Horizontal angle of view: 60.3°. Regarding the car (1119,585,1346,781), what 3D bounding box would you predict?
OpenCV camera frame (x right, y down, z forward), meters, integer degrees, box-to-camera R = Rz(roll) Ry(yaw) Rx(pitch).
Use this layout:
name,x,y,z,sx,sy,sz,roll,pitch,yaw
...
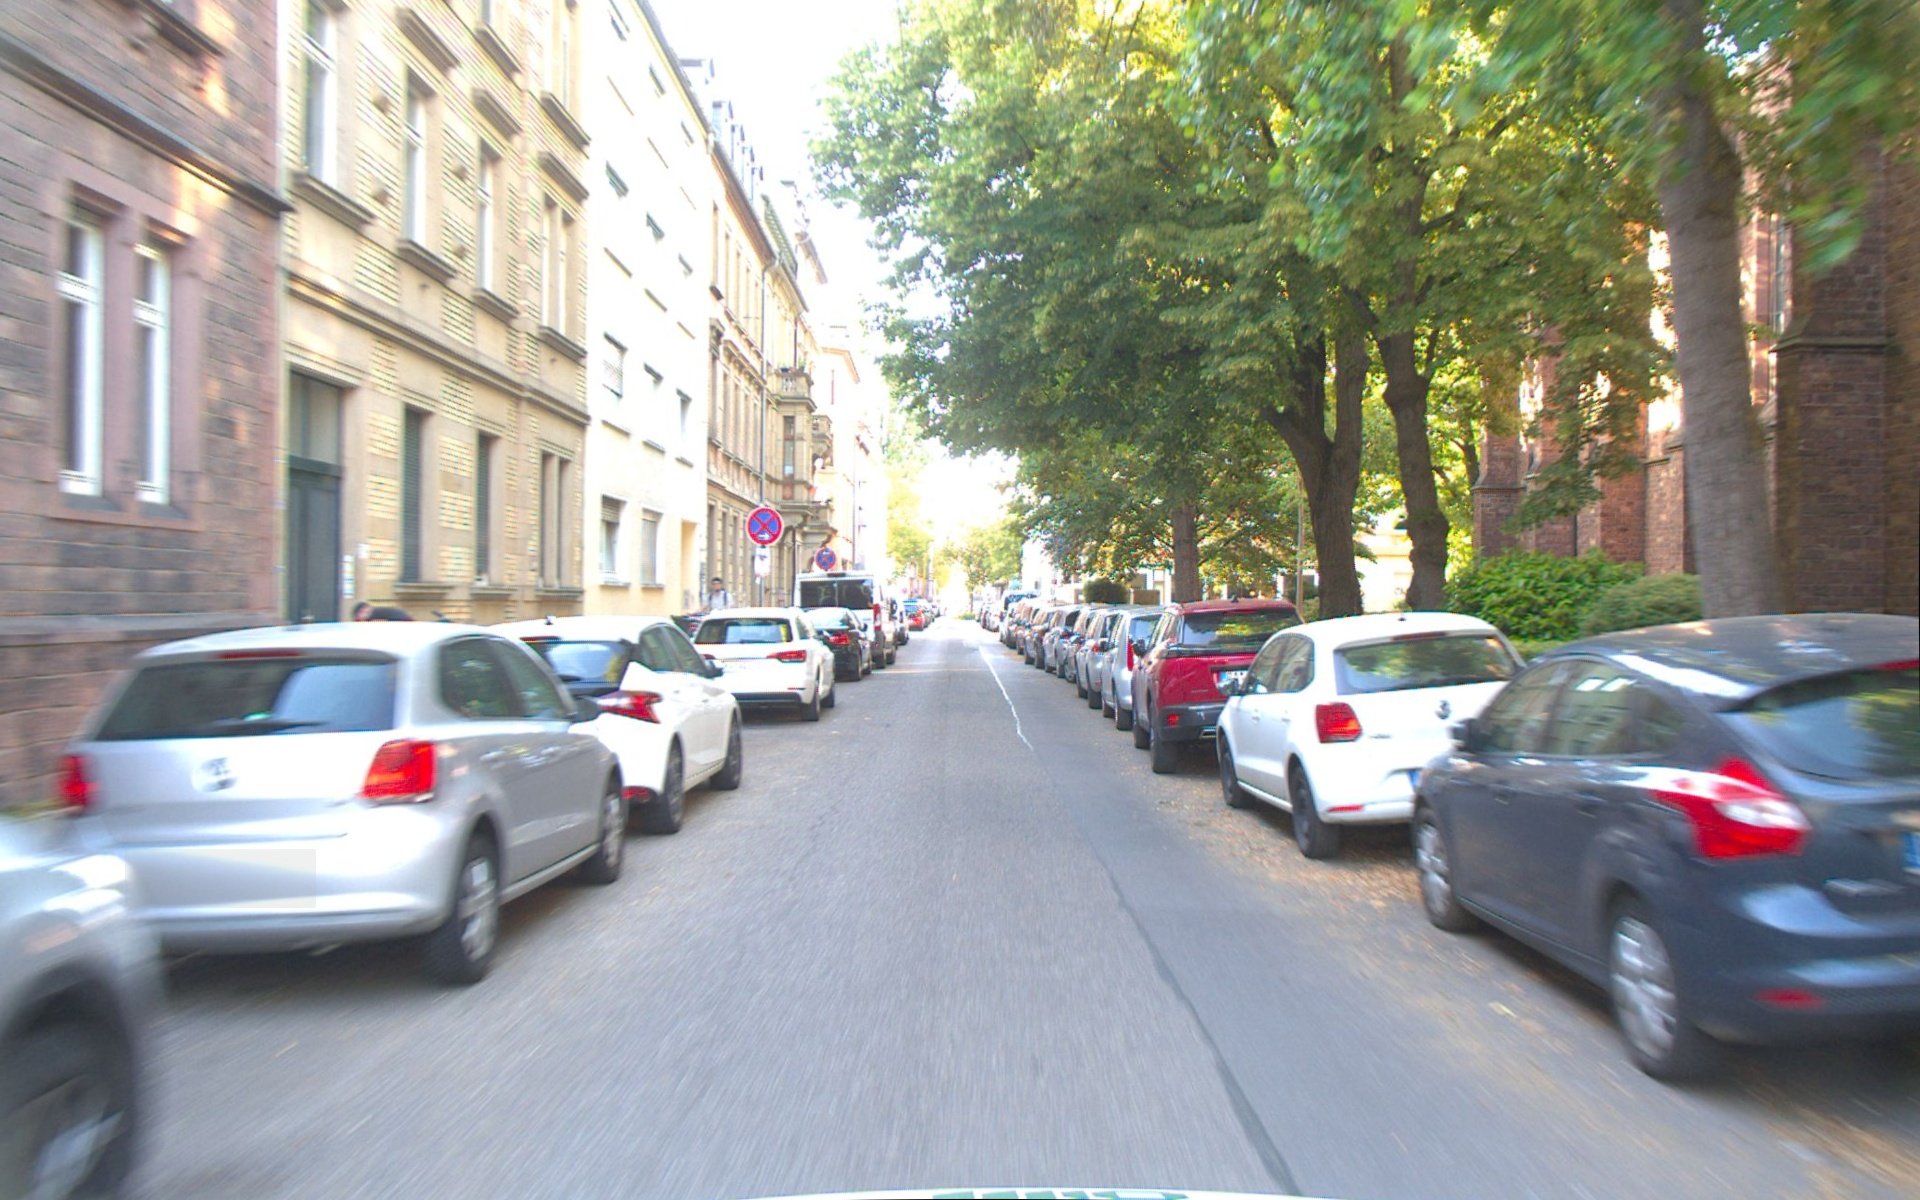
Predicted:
name,x,y,z,sx,sy,sz,roll,pitch,yaw
car,2.618,0.758,16.765,1.630,1.613,4.101,-5,-1,2

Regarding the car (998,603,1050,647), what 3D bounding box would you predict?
name,x,y,z,sx,sy,sz,roll,pitch,yaw
car,2.376,0.929,61.838,1.684,1.598,3.827,0,0,-2

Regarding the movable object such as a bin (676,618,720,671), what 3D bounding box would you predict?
name,x,y,z,sx,sy,sz,roll,pitch,yaw
movable object such as a bin,-5.464,0.929,34.536,0.783,1.107,0.666,0,-2,4

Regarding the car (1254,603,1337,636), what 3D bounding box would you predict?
name,x,y,z,sx,sy,sz,roll,pitch,yaw
car,16.229,0.930,80.158,3.773,1.499,1.634,1,-2,7

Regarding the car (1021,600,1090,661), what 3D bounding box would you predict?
name,x,y,z,sx,sy,sz,roll,pitch,yaw
car,2.630,0.838,46.268,1.586,1.512,3.775,-4,-1,0

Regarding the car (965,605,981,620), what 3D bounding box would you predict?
name,x,y,z,sx,sy,sz,roll,pitch,yaw
car,1.397,1.346,179.830,1.642,1.513,3.637,-2,0,-1

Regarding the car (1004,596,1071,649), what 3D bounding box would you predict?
name,x,y,z,sx,sy,sz,roll,pitch,yaw
car,2.627,0.777,56.789,1.705,1.631,4.260,-4,-1,-4

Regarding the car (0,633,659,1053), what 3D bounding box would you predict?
name,x,y,z,sx,sy,sz,roll,pitch,yaw
car,-2.675,0.927,7.944,1.674,1.442,3.803,-2,-1,1

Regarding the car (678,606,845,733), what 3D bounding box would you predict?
name,x,y,z,sx,sy,sz,roll,pitch,yaw
car,-2.585,0.858,22.482,1.695,1.481,4.521,-2,0,0

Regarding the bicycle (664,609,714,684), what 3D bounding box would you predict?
name,x,y,z,sx,sy,sz,roll,pitch,yaw
bicycle,-4.842,0.804,29.609,0.559,1.265,1.844,3,0,-1

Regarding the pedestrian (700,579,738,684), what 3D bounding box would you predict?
name,x,y,z,sx,sy,sz,roll,pitch,yaw
pedestrian,-4.328,0.549,29.760,0.478,1.834,1.115,2,0,-2

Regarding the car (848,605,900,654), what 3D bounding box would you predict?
name,x,y,z,sx,sy,sz,roll,pitch,yaw
car,-2.892,0.951,55.691,1.659,1.540,3.970,-2,0,-3

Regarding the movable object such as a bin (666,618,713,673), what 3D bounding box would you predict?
name,x,y,z,sx,sy,sz,roll,pitch,yaw
movable object such as a bin,-5.510,0.922,33.693,0.819,1.107,0.675,0,-2,3

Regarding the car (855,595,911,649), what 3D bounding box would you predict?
name,x,y,z,sx,sy,sz,roll,pitch,yaw
car,-2.780,0.773,60.304,1.794,1.843,4.571,-2,0,0

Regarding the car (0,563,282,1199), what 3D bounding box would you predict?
name,x,y,z,sx,sy,sz,roll,pitch,yaw
car,-2.488,0.804,1.782,1.674,1.703,4.278,-2,-1,1

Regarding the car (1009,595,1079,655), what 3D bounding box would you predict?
name,x,y,z,sx,sy,sz,roll,pitch,yaw
car,2.548,0.779,51.065,1.587,1.653,3.860,-4,-1,-4

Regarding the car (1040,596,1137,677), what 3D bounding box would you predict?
name,x,y,z,sx,sy,sz,roll,pitch,yaw
car,2.697,0.768,35.487,1.567,1.531,3.626,-4,-1,-2

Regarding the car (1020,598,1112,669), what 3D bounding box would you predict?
name,x,y,z,sx,sy,sz,roll,pitch,yaw
car,2.497,0.797,39.963,1.642,1.466,4.693,-4,-1,-2

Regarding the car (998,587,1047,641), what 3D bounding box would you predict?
name,x,y,z,sx,sy,sz,roll,pitch,yaw
car,2.517,0.548,67.105,1.874,2.033,4.793,-2,0,2

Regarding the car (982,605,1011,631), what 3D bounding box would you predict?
name,x,y,z,sx,sy,sz,roll,pitch,yaw
car,2.266,1.124,104.540,1.642,1.533,3.936,-2,0,-1

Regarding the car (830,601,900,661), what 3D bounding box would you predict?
name,x,y,z,sx,sy,sz,roll,pitch,yaw
car,-2.599,0.831,45.961,1.730,1.540,4.192,-2,0,-1

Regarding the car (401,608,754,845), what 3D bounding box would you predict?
name,x,y,z,sx,sy,sz,roll,pitch,yaw
car,-2.663,0.824,12.384,1.674,1.442,3.803,-2,-1,1

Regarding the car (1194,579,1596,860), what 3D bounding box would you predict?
name,x,y,z,sx,sy,sz,roll,pitch,yaw
car,2.888,0.744,11.896,1.631,1.546,3.950,-4,-1,-2

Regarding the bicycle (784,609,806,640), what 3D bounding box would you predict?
name,x,y,z,sx,sy,sz,roll,pitch,yaw
bicycle,-5.731,0.851,57.422,0.559,1.059,1.546,2,0,0

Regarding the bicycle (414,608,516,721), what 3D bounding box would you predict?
name,x,y,z,sx,sy,sz,roll,pitch,yaw
bicycle,-5.513,0.693,18.511,0.559,1.168,1.844,3,0,-1

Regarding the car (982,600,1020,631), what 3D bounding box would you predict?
name,x,y,z,sx,sy,sz,roll,pitch,yaw
car,2.192,0.823,89.549,1.709,1.533,4.355,-2,0,-3

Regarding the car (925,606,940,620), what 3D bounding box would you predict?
name,x,y,z,sx,sy,sz,roll,pitch,yaw
car,-3.078,1.466,183.563,1.642,1.513,4.094,-2,0,-1

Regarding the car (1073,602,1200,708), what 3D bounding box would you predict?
name,x,y,z,sx,sy,sz,roll,pitch,yaw
car,2.720,0.829,26.204,1.566,1.496,3.869,-2,-1,0

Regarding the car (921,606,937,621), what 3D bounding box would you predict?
name,x,y,z,sx,sy,sz,roll,pitch,yaw
car,-3.344,1.428,178.080,1.642,1.513,4.094,-2,0,-1

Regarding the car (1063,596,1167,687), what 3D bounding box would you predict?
name,x,y,z,sx,sy,sz,roll,pitch,yaw
car,2.882,0.764,31.403,1.567,1.493,3.563,-4,-1,0

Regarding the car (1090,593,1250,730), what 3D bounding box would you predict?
name,x,y,z,sx,sy,sz,roll,pitch,yaw
car,2.689,0.764,21.900,1.567,1.531,3.720,-4,-1,0

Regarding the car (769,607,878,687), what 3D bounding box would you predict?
name,x,y,z,sx,sy,sz,roll,pitch,yaw
car,-2.678,0.893,33.288,1.695,1.426,4.316,-2,0,1

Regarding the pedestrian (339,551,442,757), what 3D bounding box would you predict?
name,x,y,z,sx,sy,sz,roll,pitch,yaw
pedestrian,-5.558,0.517,16.183,0.751,1.962,0.763,1,0,-4

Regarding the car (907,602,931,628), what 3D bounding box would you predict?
name,x,y,z,sx,sy,sz,roll,pitch,yaw
car,-3.080,1.122,124.003,1.729,1.816,4.038,-2,0,-1

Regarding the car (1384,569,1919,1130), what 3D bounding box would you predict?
name,x,y,z,sx,sy,sz,roll,pitch,yaw
car,3.114,0.716,6.812,1.630,1.546,4.060,-4,-1,1

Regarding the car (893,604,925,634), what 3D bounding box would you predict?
name,x,y,z,sx,sy,sz,roll,pitch,yaw
car,-2.745,1.023,89.728,1.595,1.507,3.600,-2,0,-1

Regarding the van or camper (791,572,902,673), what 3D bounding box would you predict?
name,x,y,z,sx,sy,sz,roll,pitch,yaw
van or camper,-2.626,0.507,39.659,2.132,2.185,5.155,-2,0,1
